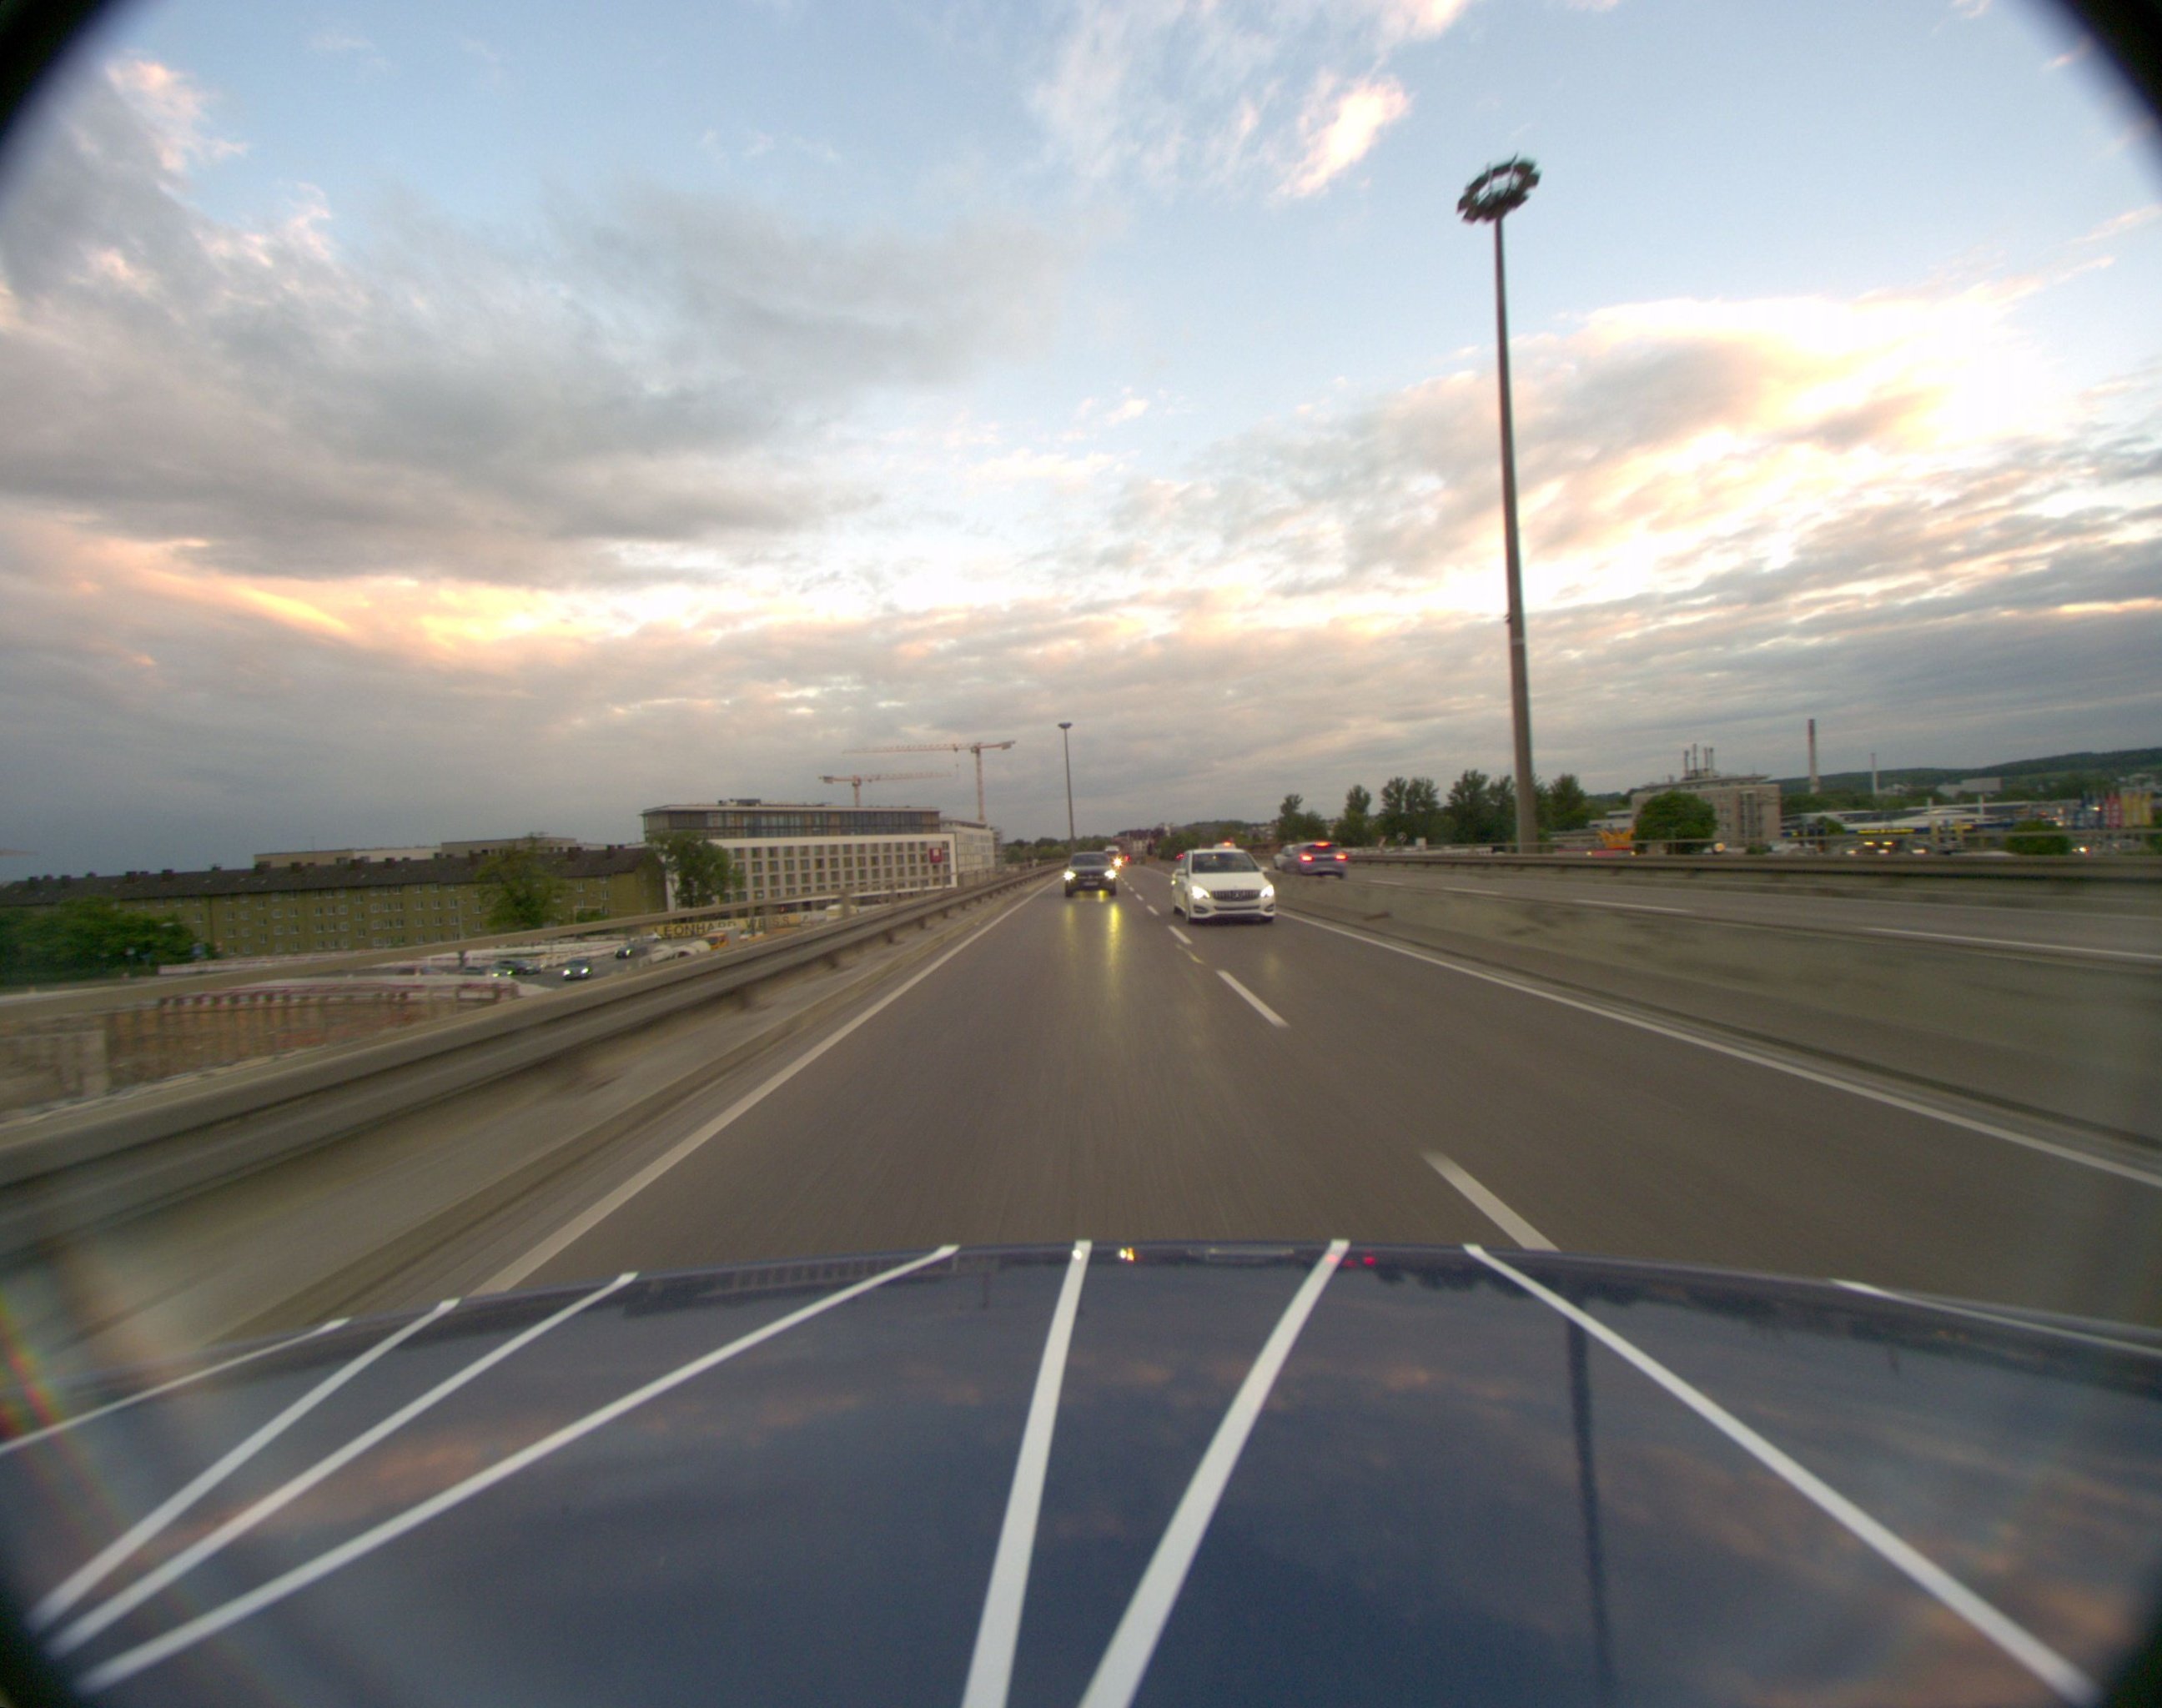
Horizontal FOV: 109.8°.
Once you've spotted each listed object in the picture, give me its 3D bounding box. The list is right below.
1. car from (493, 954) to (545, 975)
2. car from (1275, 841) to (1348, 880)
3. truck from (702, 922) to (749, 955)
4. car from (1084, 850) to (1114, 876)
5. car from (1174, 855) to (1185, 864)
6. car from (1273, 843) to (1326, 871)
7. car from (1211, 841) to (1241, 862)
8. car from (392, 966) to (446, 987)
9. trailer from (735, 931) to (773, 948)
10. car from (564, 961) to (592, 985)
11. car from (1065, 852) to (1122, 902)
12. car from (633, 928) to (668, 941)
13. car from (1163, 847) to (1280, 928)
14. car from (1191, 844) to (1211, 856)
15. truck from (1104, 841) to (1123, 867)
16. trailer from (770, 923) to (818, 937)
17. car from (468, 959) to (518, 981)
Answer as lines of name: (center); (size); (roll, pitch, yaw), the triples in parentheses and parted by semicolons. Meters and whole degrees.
car: (-56.261, 11.059, 76.142); (4.095, 1.710, 1.804); (-2, 3, 12)
car: (9.183, 0.265, 30.572); (1.633, 1.432, 3.835); (-2, 0, -2)
truck: (-41.814, 9.907, 89.634); (2.163, 2.930, 7.336); (-5, -1, -3)
car: (1.201, 0.656, 52.197); (1.891, 1.641, 4.344); (-3, -1, -1)
car: (17.410, 0.940, 134.367); (1.660, 1.584, 4.043); (-2, 1, 2)
car: (12.706, 0.167, 44.531); (1.835, 1.494, 4.816); (-2, 0, 2)
car: (14.200, -0.230, 74.824); (1.906, 1.889, 5.459); (-2, 0, 1)
car: (-62.711, 11.646, 72.047); (3.763, 1.609, 1.650); (-3, 1, 6)
trailer: (-41.686, 10.891, 97.003); (1.998, 1.339, 5.874); (-8, -1, 2)
car: (-48.416, 11.396, 73.215); (2.003, 1.865, 5.084); (-5, -4, -32)
car: (0.447, 0.756, 26.906); (1.823, 1.602, 4.213); (-2, 0, 1)
car: (-60.804, 11.358, 107.386); (4.006, 1.433, 1.909); (-4, -3, -37)
car: (3.023, 0.690, 17.311); (1.695, 1.528, 4.783); (-2, -1, 0)
car: (15.353, -0.463, 97.463); (1.833, 1.465, 4.901); (-2, 0, 0)
truck: (5.934, -0.030, 139.108); (3.165, 4.369, 8.794); (-2, 1, 3)
trailer: (-38.710, 10.285, 102.625); (5.876, 1.340, 2.024); (-2, 1, -17)
car: (-55.212, 10.904, 71.404); (3.788, 1.729, 1.647); (-4, 1, 15)
